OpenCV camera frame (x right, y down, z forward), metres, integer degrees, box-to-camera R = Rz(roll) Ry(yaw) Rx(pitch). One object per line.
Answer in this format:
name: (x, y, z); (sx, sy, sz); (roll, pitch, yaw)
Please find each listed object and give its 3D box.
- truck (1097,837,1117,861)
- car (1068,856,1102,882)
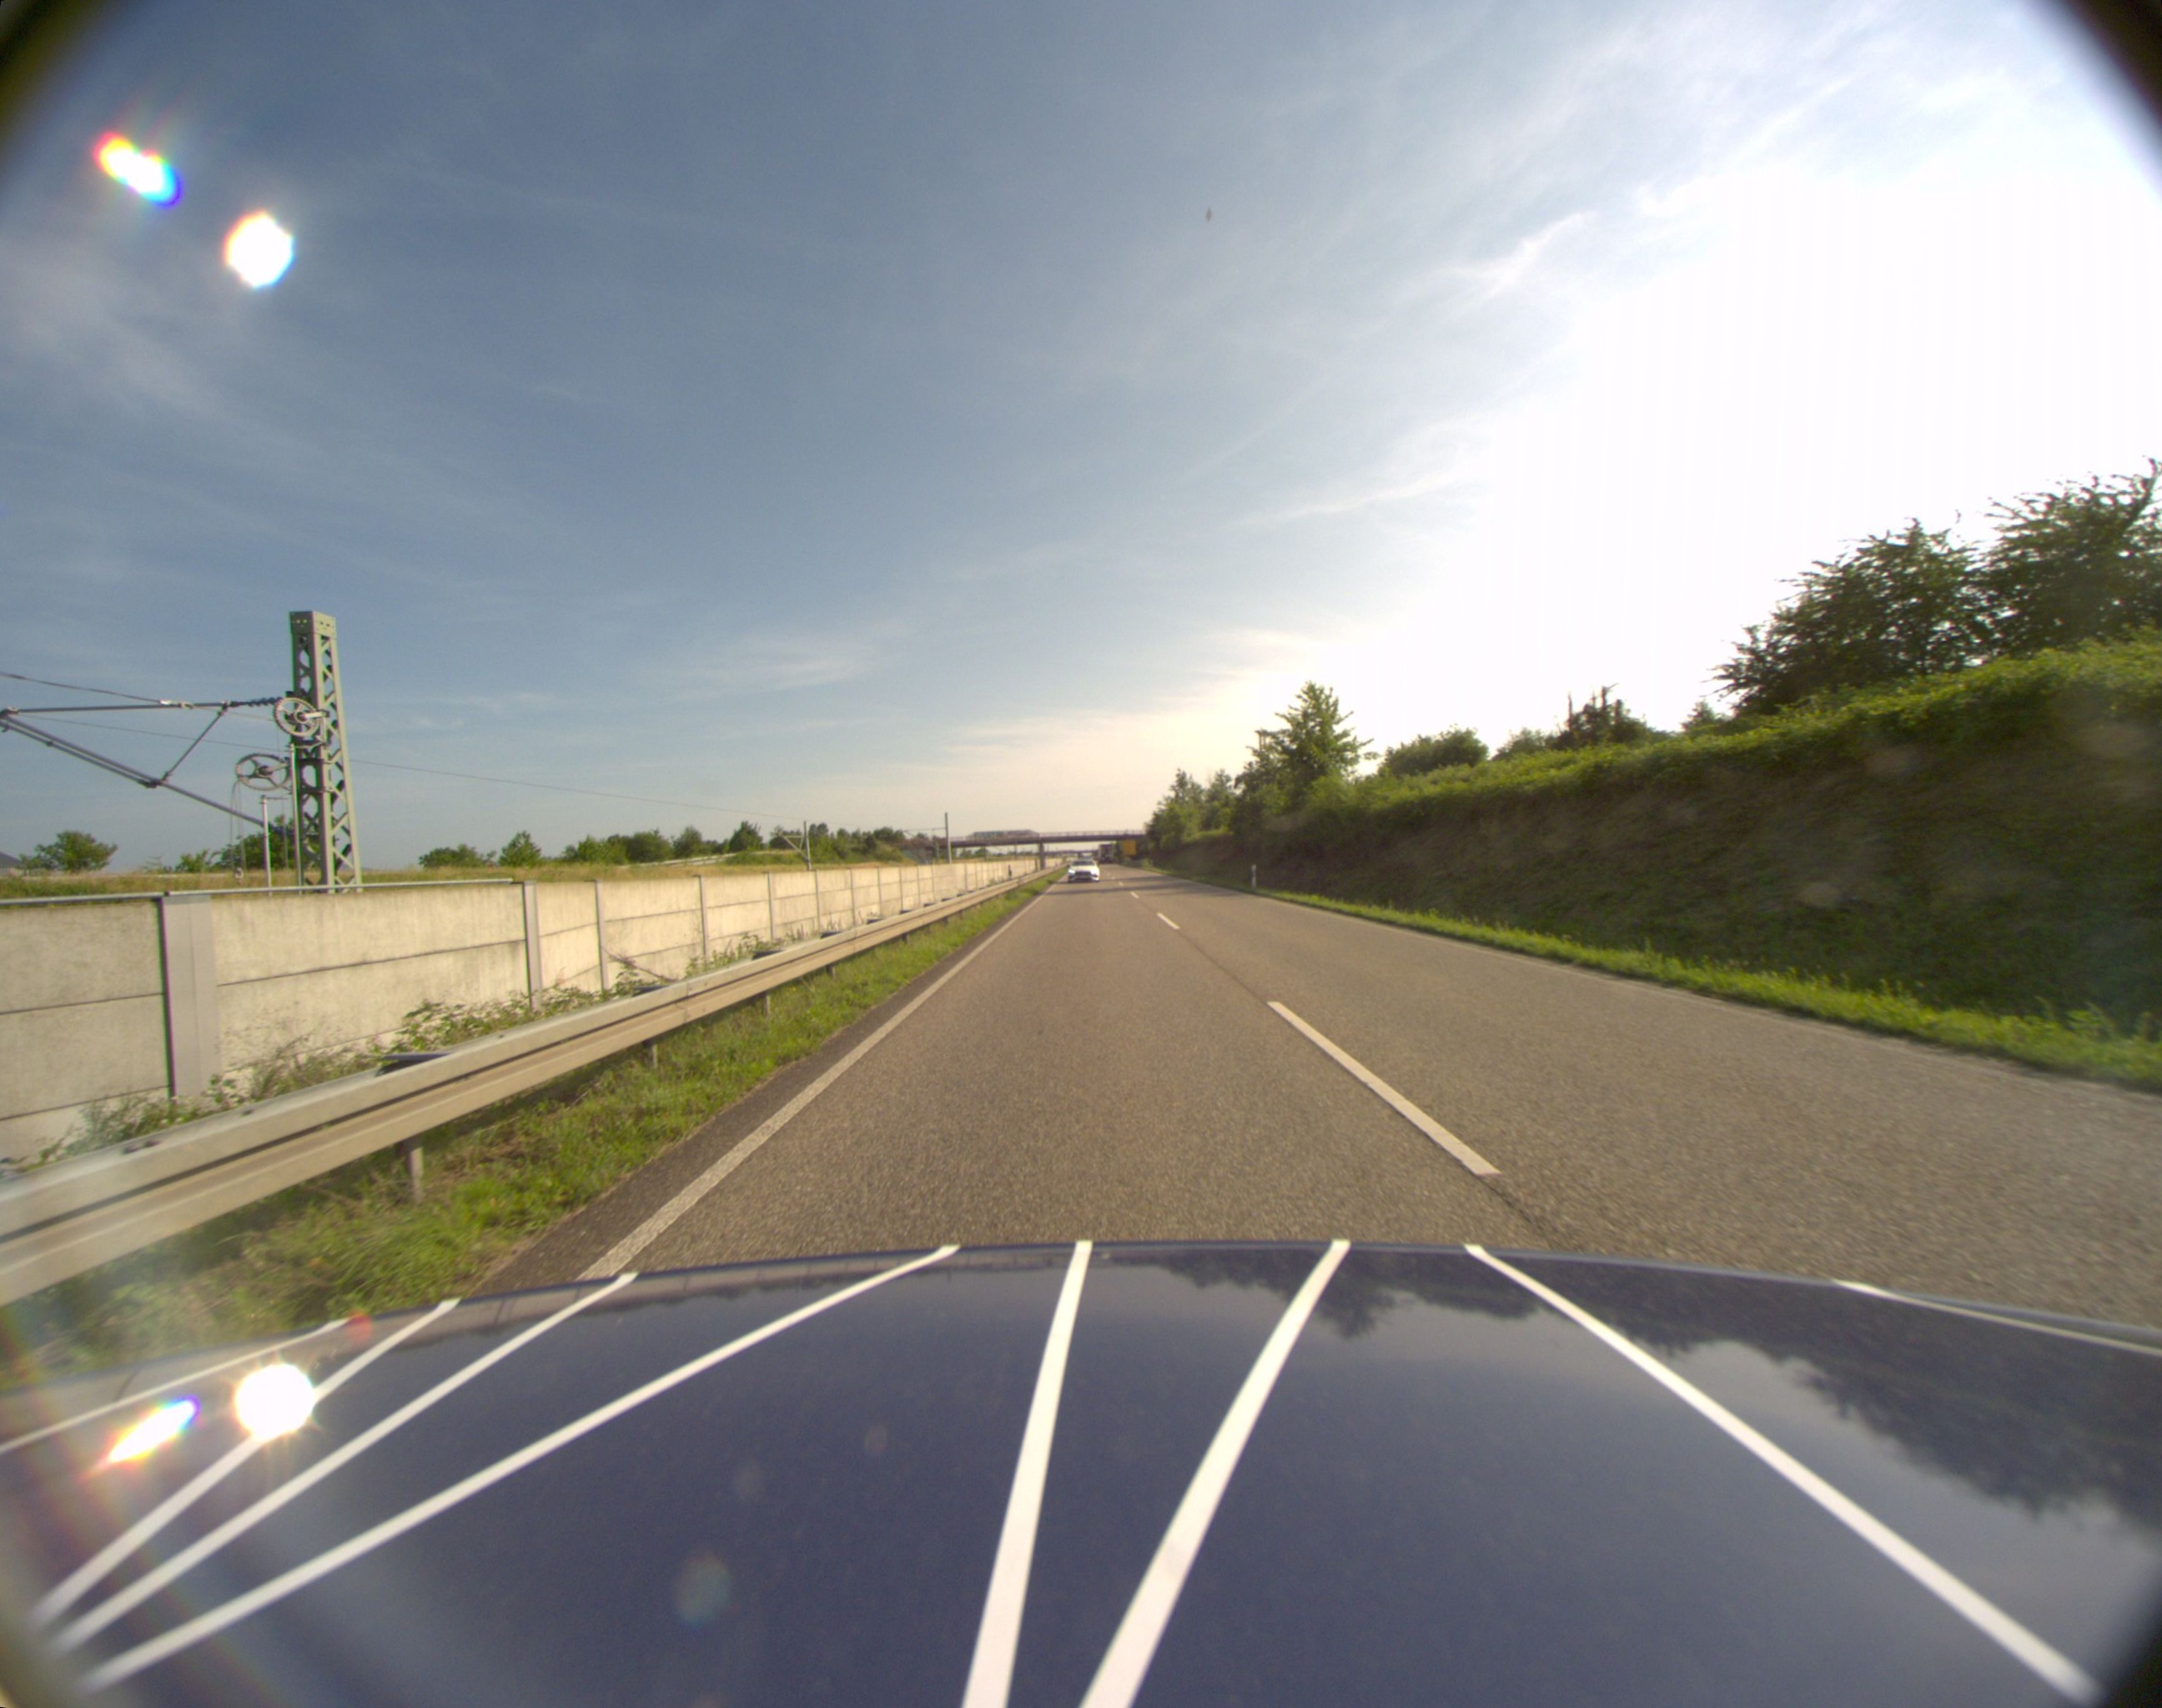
truck: (5.301, -0.959, 159.039); (3.792, 4.617, 19.838); (-2, 0, 1)
car: (0.259, 0.869, 46.902); (1.952, 1.430, 4.612); (-2, 0, 1)
